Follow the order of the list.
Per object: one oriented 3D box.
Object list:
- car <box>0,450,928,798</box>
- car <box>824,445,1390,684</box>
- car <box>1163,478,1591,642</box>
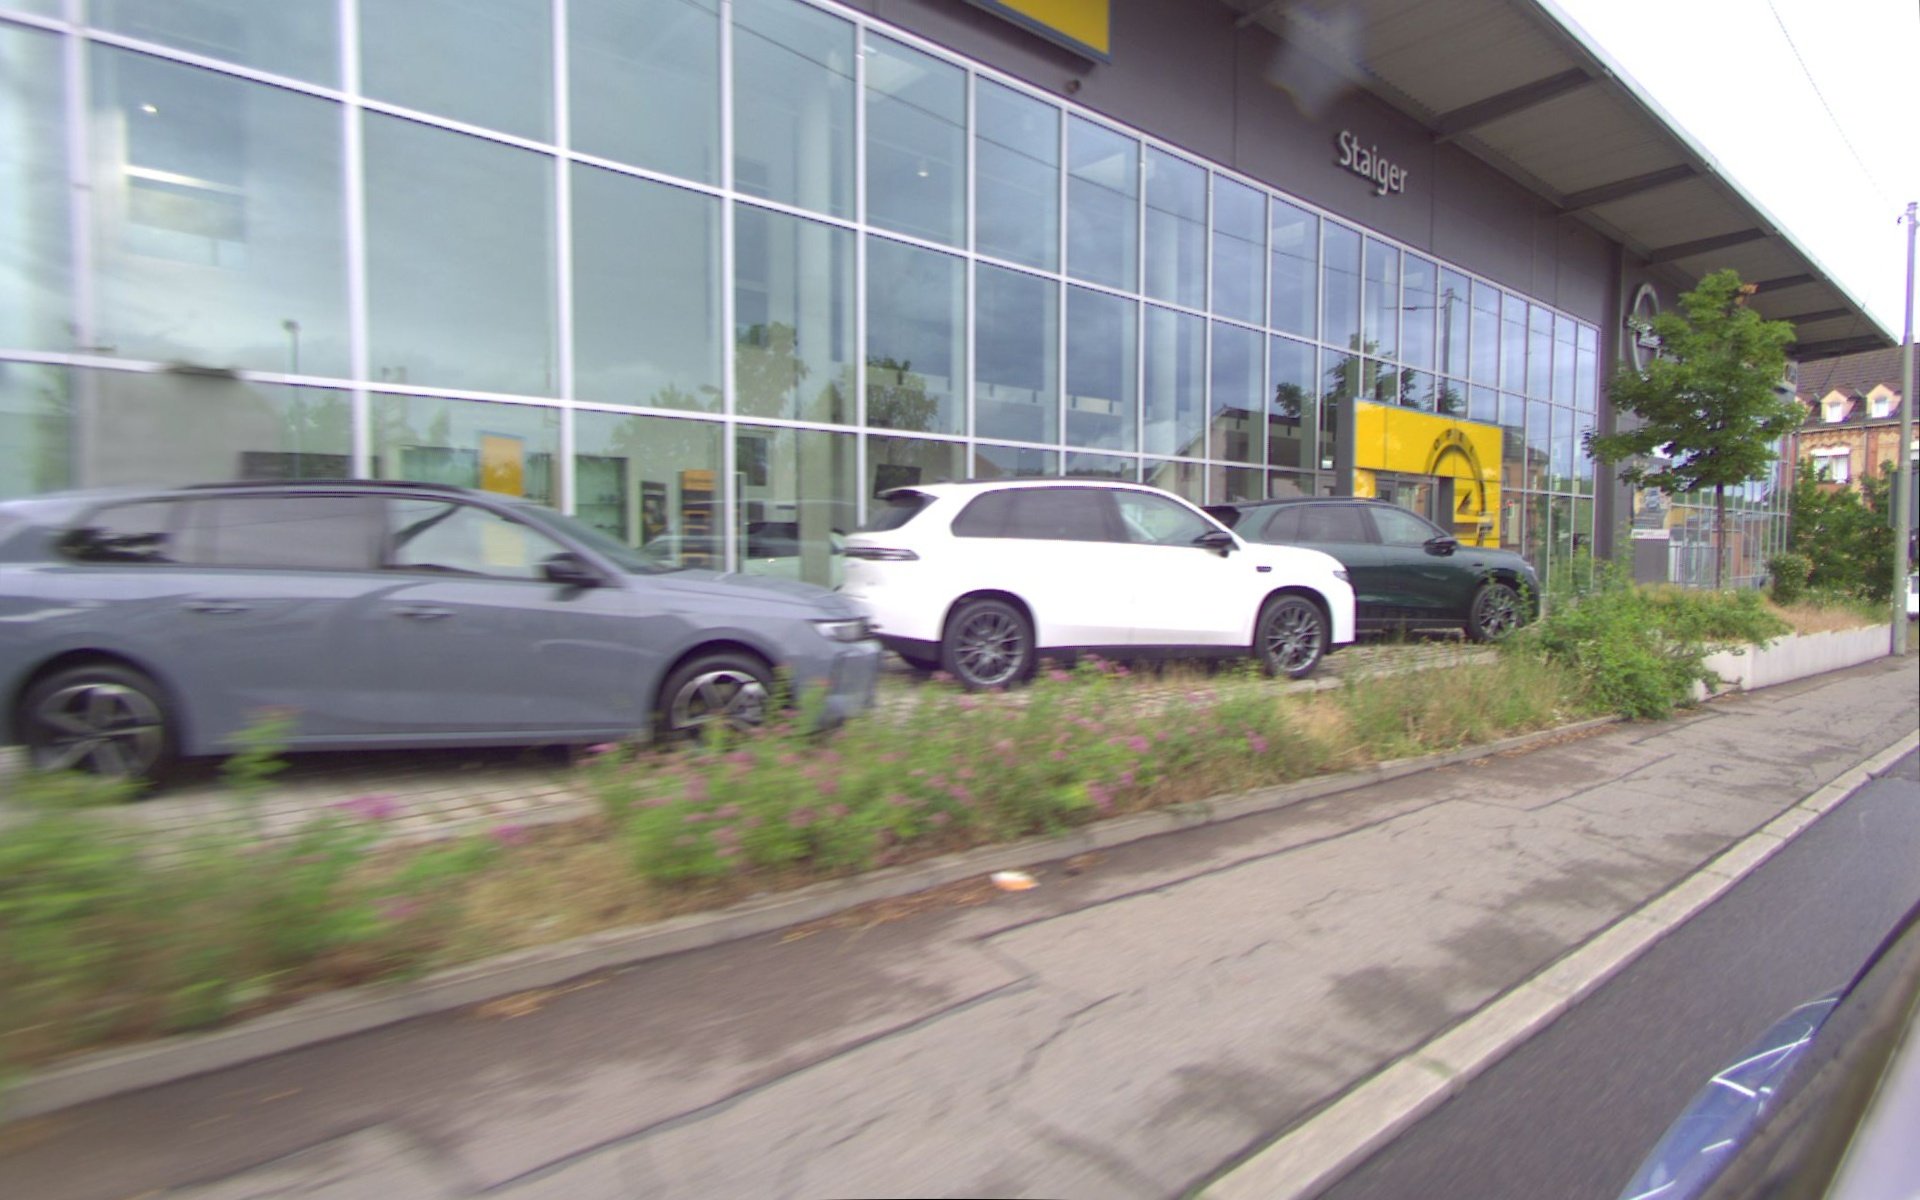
[{"bbox_3d":[-2.570,0.058,5.586,4.476,1.472,1.921,1,3,-13],"label":"car"},{"bbox_3d":[1.209,-0.313,8.951,4.481,1.731,2.006,0,3,-17],"label":"car"},{"bbox_3d":[4.899,-0.471,12.145,4.335,1.731,2.005,0,3,-14],"label":"car"}]
